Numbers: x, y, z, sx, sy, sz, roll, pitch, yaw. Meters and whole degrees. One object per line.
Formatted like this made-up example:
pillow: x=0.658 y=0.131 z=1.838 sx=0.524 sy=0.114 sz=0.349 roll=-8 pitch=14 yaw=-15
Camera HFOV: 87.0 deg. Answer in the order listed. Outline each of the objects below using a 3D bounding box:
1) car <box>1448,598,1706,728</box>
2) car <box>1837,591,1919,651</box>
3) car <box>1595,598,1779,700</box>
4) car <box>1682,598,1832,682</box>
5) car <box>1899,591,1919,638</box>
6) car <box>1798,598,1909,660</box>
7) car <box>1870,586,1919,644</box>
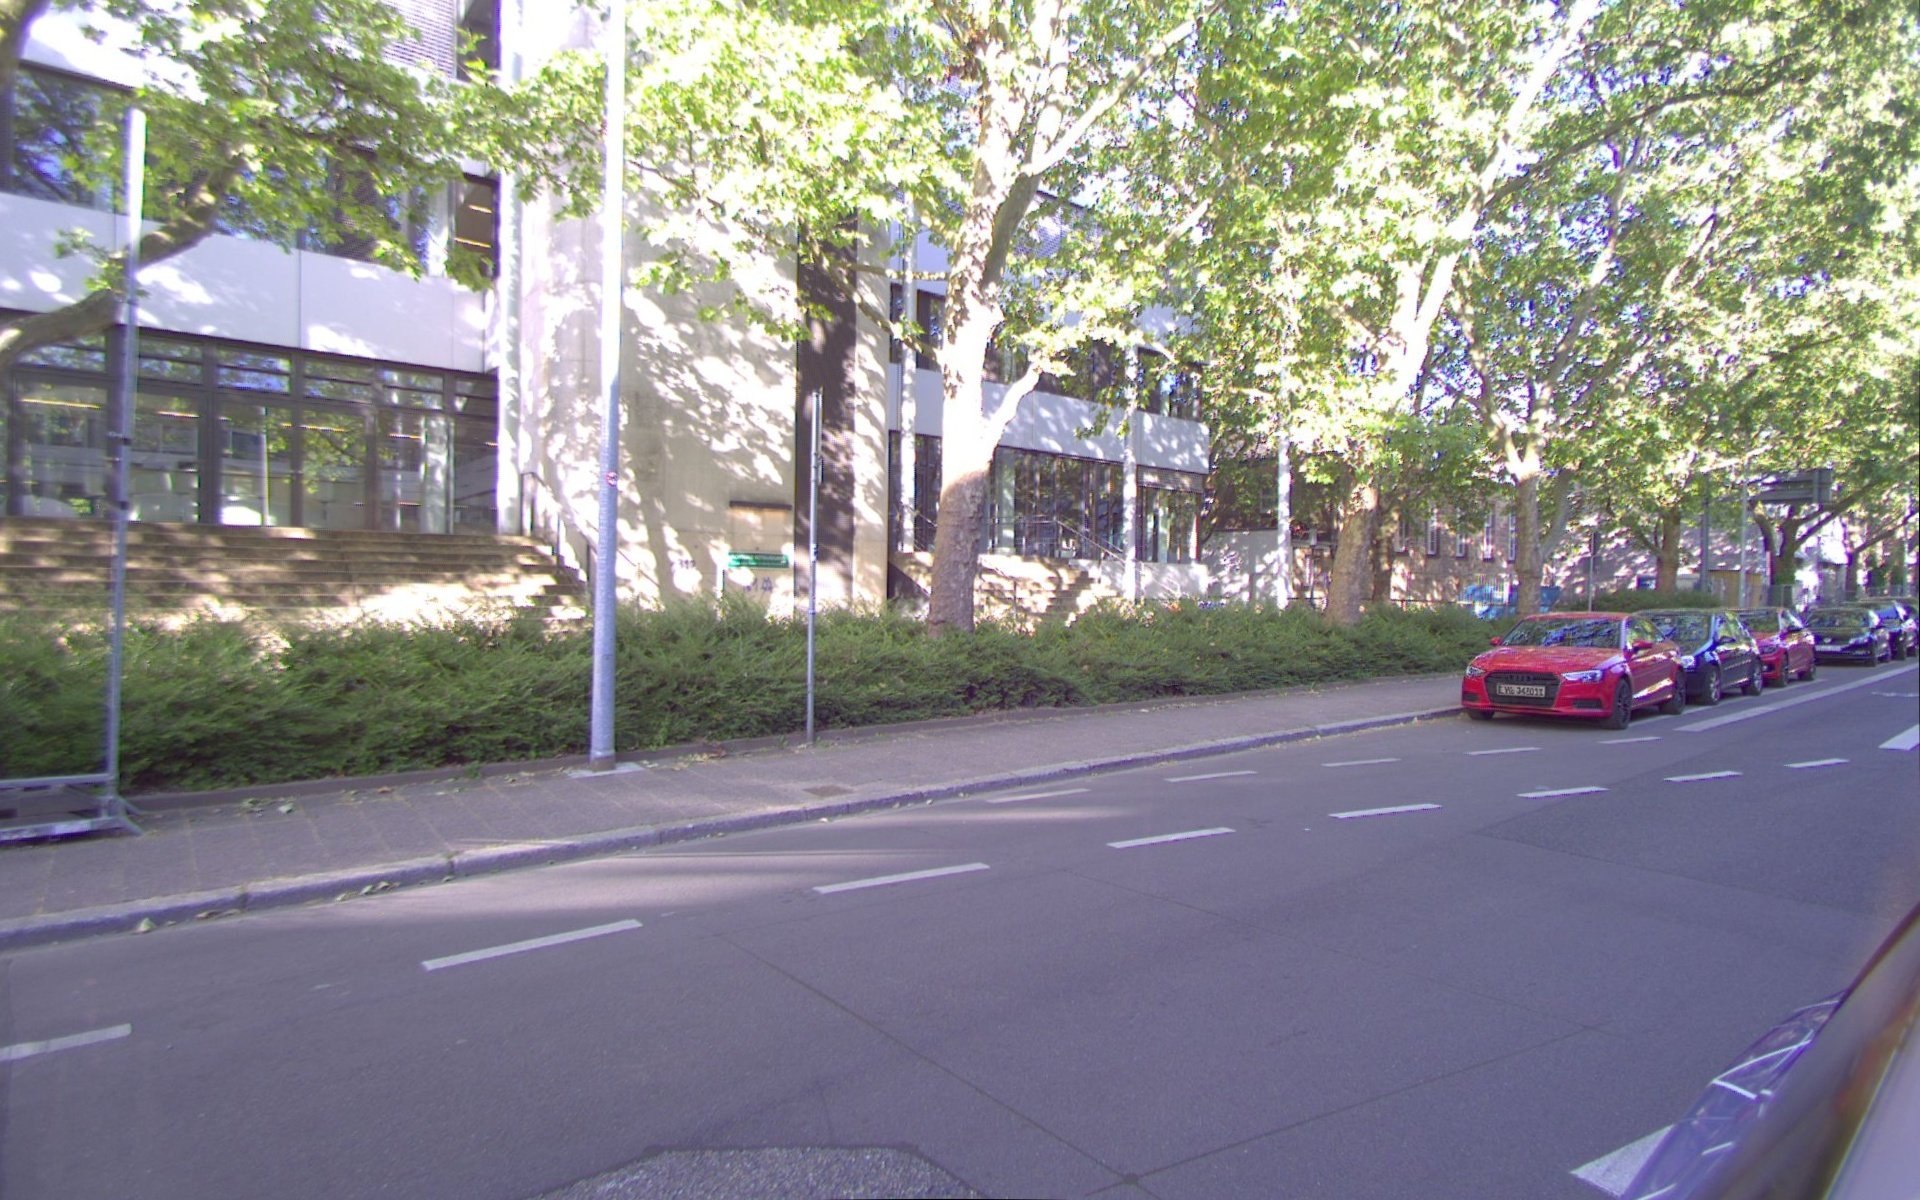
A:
car: x=8.340 y=0.720 z=13.547 sx=4.053 sy=1.483 sz=1.802 roll=0 pitch=-1 yaw=-41
car: x=26.589 y=0.580 z=29.025 sx=3.777 sy=1.607 sz=1.634 roll=0 pitch=-1 yaw=-41
car: x=11.962 y=0.715 z=16.576 sx=3.674 sy=1.483 sz=1.634 roll=0 pitch=-1 yaw=-41
car: x=15.730 y=0.720 z=19.921 sx=3.674 sy=1.483 sz=1.634 roll=0 pitch=-1 yaw=-41
car: x=35.957 y=0.525 z=37.246 sx=3.777 sy=1.675 sz=1.634 roll=0 pitch=-1 yaw=-41
car: x=22.938 y=0.693 z=25.942 sx=3.674 sy=1.483 sz=1.634 roll=0 pitch=-1 yaw=-41
car: x=31.167 y=0.471 z=33.069 sx=3.777 sy=1.828 sz=1.634 roll=0 pitch=-1 yaw=-41
